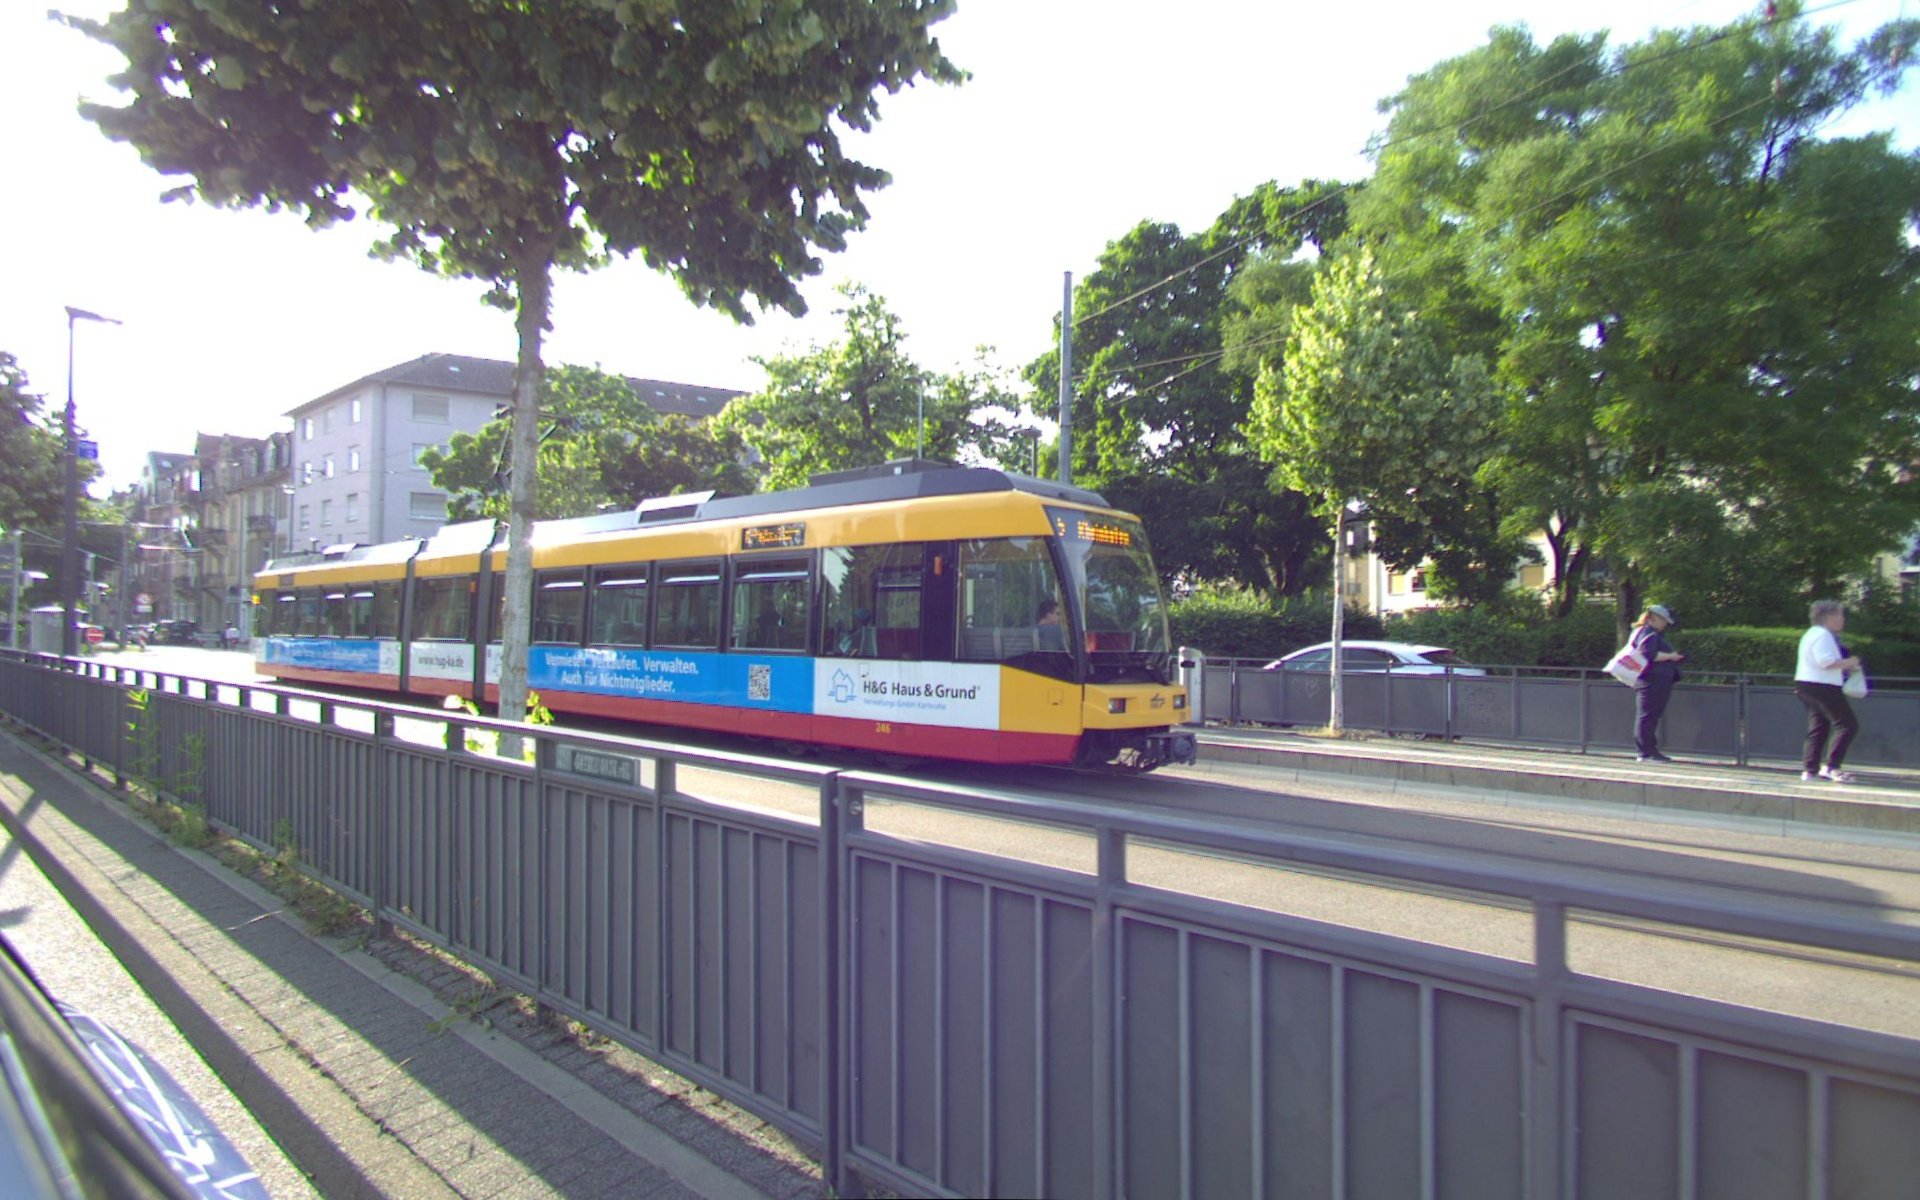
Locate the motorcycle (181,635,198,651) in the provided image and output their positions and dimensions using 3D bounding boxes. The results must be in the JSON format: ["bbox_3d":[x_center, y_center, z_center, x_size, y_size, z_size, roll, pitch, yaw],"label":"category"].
[{"bbox_3d":[-54.284,3.007,71.323,1.733,1.088,0.628,-2,-2,42],"label":"motorcycle"}]

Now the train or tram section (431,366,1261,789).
[{"bbox_3d":[-3.182,-0.008,14.470,14.471,3.506,3.127,-2,-2,43],"label":"train or tram section"}]

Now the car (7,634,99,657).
[{"bbox_3d":[-55.838,2.815,62.390,3.888,1.370,1.676,1,-2,-11],"label":"car"}]

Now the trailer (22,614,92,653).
[{"bbox_3d":[-57.789,2.143,64.816,2.817,2.410,1.728,0,-2,-17],"label":"trailer"}]

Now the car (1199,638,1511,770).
[{"bbox_3d":[5.921,1.445,15.391,3.997,1.697,1.973,-2,-2,40],"label":"car"}]

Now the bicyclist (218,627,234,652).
[{"bbox_3d":[-42.806,2.310,58.991,0.717,1.424,0.643,-2,-2,44],"label":"bicyclist"}]

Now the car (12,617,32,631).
[{"bbox_3d":[-137.139,3.552,147.985,1.971,2.029,4.002,1,-2,-45],"label":"car"}]

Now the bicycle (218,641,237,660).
[{"bbox_3d":[-42.630,2.938,58.884,0.535,1.026,2.251,1,-2,-45],"label":"bicycle"}]

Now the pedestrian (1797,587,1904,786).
[{"bbox_3d":[7.789,0.741,8.876,0.606,1.654,0.576,-2,-4,37],"label":"pedestrian"}]

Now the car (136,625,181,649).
[{"bbox_3d":[-62.158,2.837,78.493,4.611,1.763,2.141,-2,-2,44],"label":"car"}]

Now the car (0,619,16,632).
[{"bbox_3d":[-146.969,3.902,155.833,3.998,2.029,1.973,-2,-2,41],"label":"car"}]

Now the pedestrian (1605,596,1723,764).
[{"bbox_3d":[7.282,0.804,10.507,0.859,1.654,0.660,-1,-2,25],"label":"pedestrian"}]

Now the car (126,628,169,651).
[{"bbox_3d":[-65.903,3.185,82.094,4.611,1.763,2.141,-2,-2,44],"label":"car"}]

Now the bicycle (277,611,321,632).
[{"bbox_3d":[-35.612,1.161,54.539,1.883,1.119,0.737,1,-2,-28],"label":"bicycle"}]

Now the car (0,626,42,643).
[{"bbox_3d":[-81.592,2.979,86.491,4.205,1.433,2.175,0,-2,-7],"label":"car"}]

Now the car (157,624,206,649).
[{"bbox_3d":[-57.059,2.687,74.138,4.719,1.763,2.141,-2,-2,44],"label":"car"}]

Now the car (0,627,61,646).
[{"bbox_3d":[-71.149,2.742,76.645,4.239,1.433,1.962,0,-2,-7],"label":"car"}]

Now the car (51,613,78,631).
[{"bbox_3d":[-105.884,2.616,119.602,3.999,2.029,1.972,-2,-2,42],"label":"car"}]

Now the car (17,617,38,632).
[{"bbox_3d":[-129.173,3.408,140.116,1.971,2.029,4.002,1,-2,-45],"label":"car"}]

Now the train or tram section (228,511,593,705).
[{"bbox_3d":[-13.871,0.323,24.318,14.529,3.506,3.128,-2,-2,42],"label":"train or tram section"}]

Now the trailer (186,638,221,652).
[{"bbox_3d":[-52.251,3.097,69.874,2.879,0.903,1.425,-2,1,43],"label":"trailer"}]
